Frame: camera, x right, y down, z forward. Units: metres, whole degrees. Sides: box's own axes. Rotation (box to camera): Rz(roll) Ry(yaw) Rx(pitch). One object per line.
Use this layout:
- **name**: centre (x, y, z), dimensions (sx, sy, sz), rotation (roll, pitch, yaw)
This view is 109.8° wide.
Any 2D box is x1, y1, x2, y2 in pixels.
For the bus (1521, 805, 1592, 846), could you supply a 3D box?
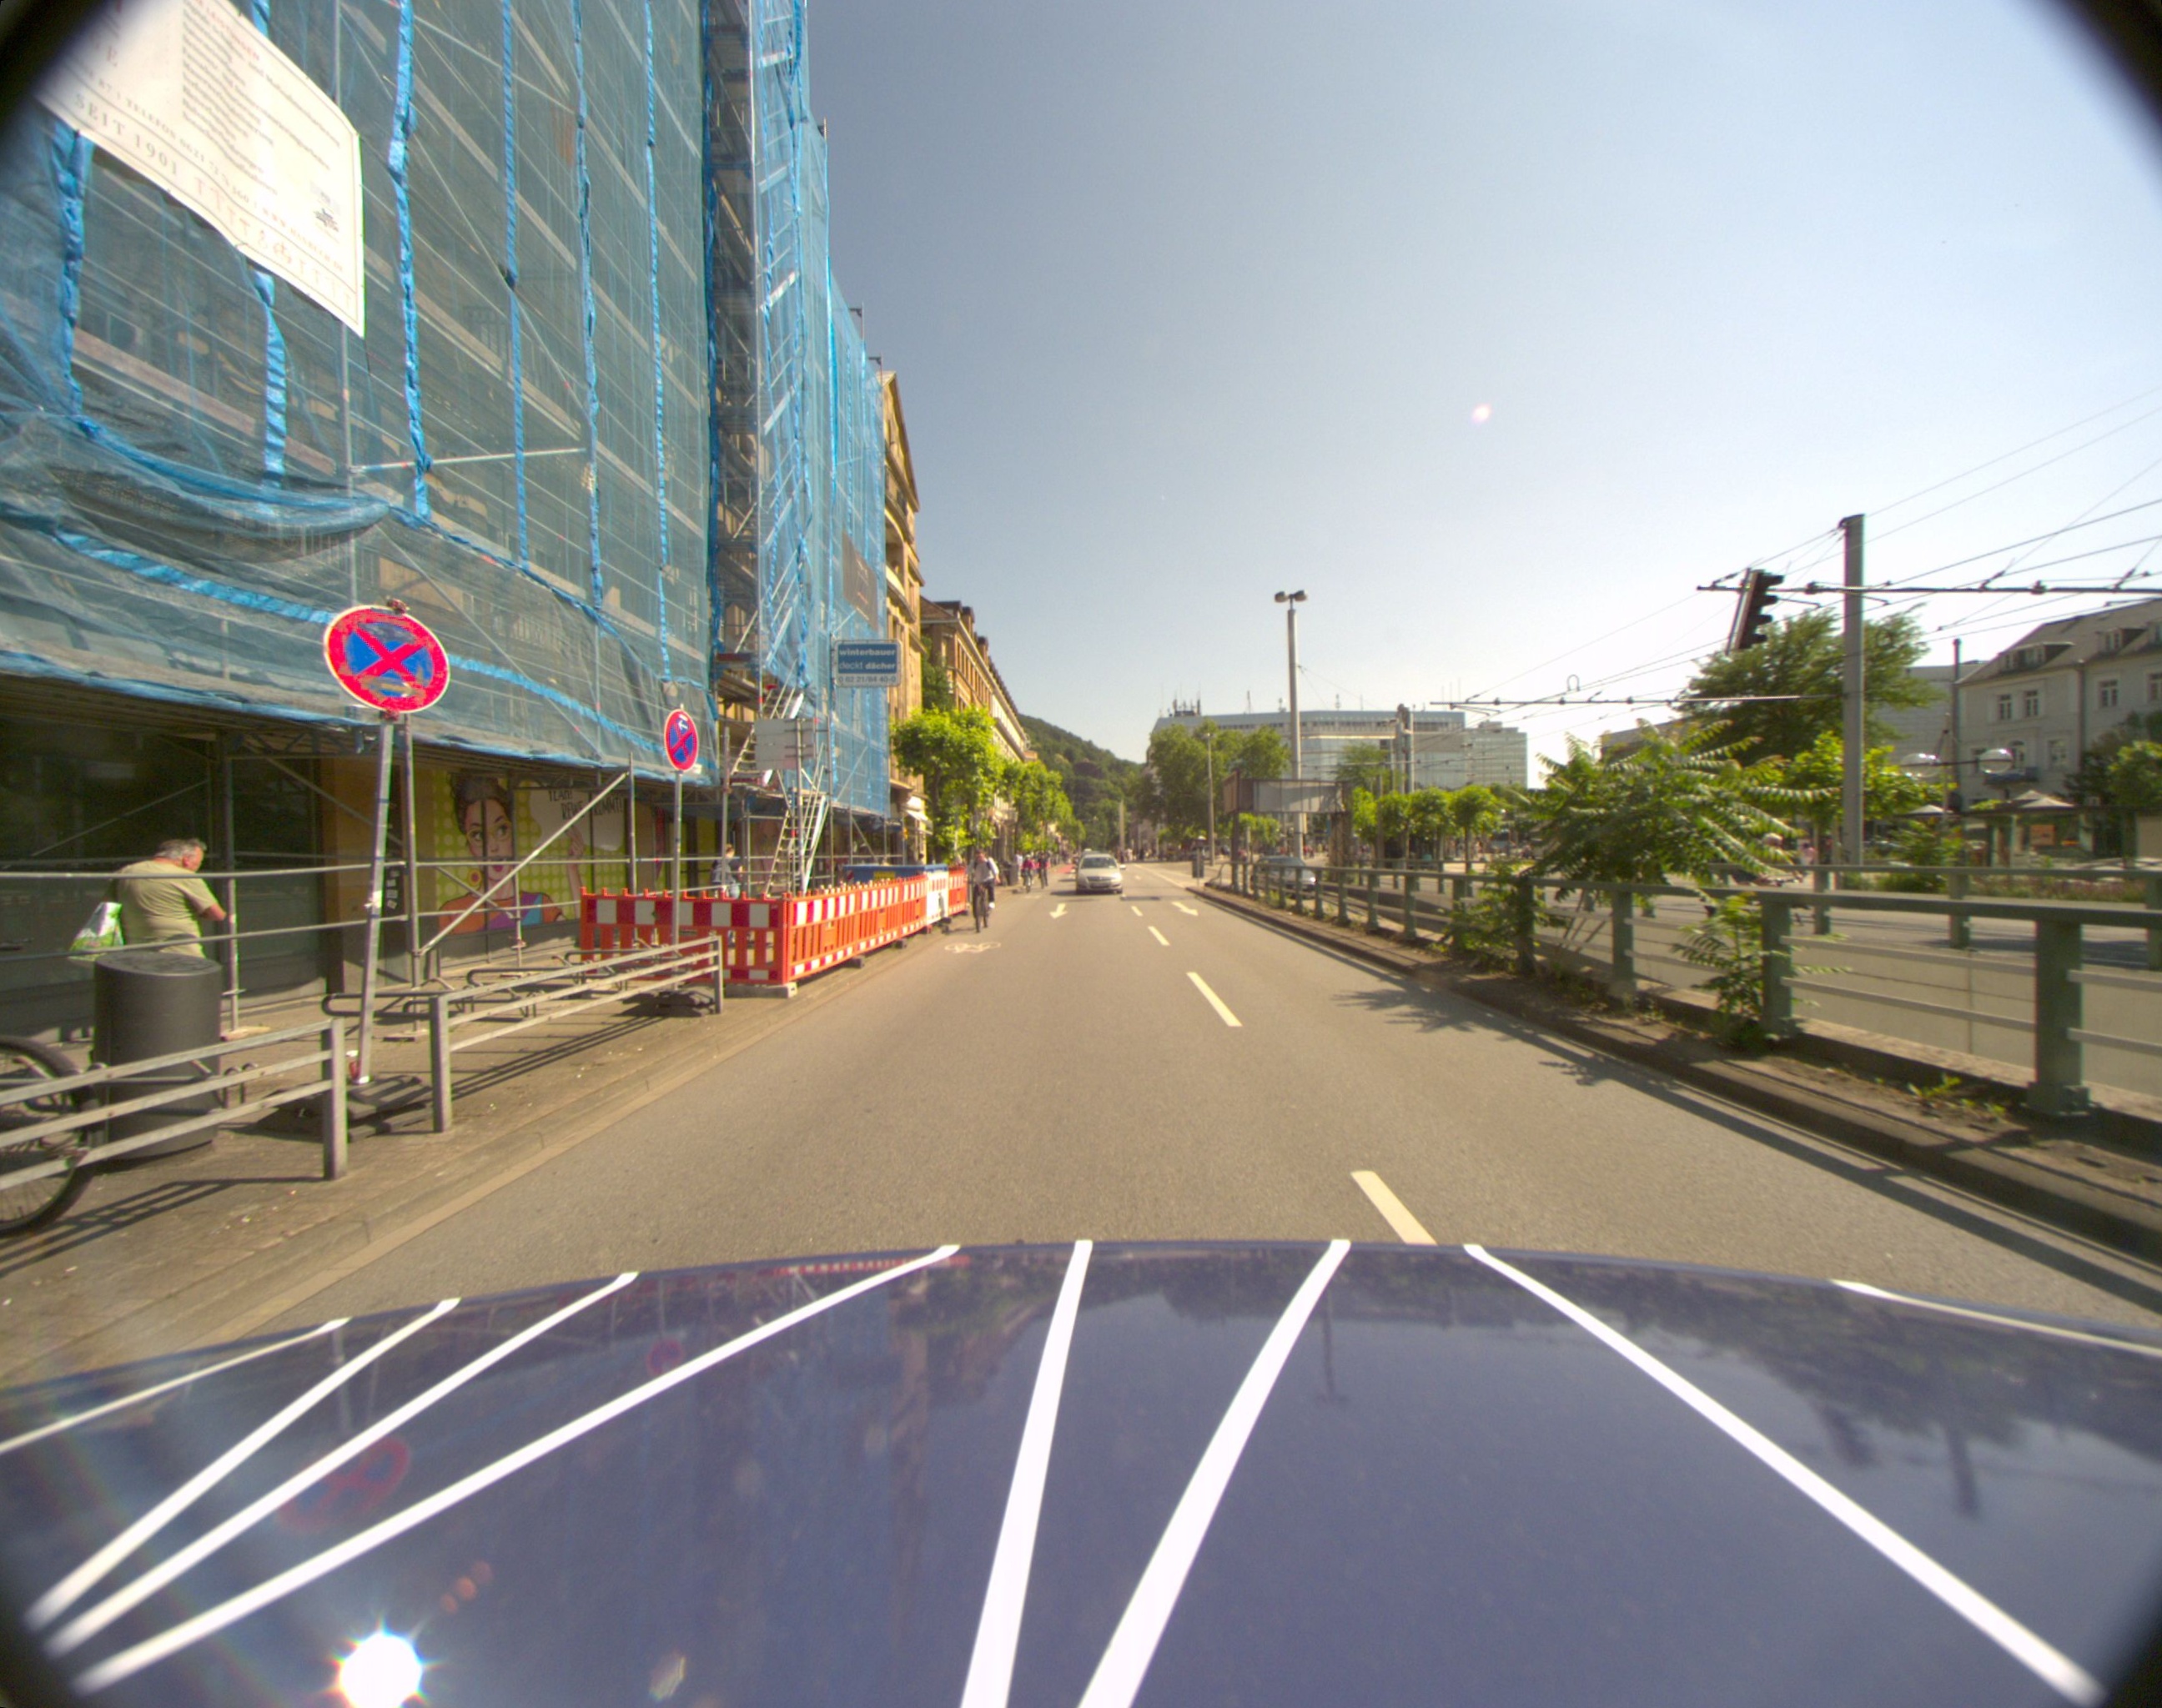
- **bus**: centre (45.085, -2.672, 72.524), dimensions (3.060, 3.400, 12.474), rotation (-3, 1, 20)

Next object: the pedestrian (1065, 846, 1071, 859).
- **pedestrian**: centre (-1.772, -0.199, 105.344), dimensions (0.579, 1.675, 0.726), rotation (-4, 2, -22)

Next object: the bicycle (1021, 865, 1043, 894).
- **bicycle**: centre (-1.995, 1.010, 30.885), dimensions (0.736, 1.086, 1.819), rotation (-3, 0, 0)

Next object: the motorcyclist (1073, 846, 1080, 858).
- **motorcyclist**: centre (-0.494, -0.236, 91.114), dimensions (0.736, 1.446, 0.707), rotation (-3, 1, 1)

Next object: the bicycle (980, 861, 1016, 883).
- **bicycle**: centre (-4.144, 0.885, 38.037), dimensions (1.757, 1.012, 0.483), rotation (-2, 1, -1)

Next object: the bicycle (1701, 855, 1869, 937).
- **bicycle**: centre (10.668, 0.592, 11.631), dimensions (0.819, 1.114, 1.874), rotation (1, 1, 1)

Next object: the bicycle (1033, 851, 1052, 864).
- **bicycle**: centre (-3.625, 0.323, 72.148), dimensions (1.757, 1.141, 0.483), rotation (-2, 1, -1)

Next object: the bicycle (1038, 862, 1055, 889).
- **bicycle**: centre (-1.564, 0.950, 34.240), dimensions (0.667, 1.086, 1.897), rotation (-3, 1, -2)

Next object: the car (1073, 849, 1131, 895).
- **car**: centre (0.802, 0.612, 28.140), dimensions (1.918, 1.401, 4.000), rotation (-3, 1, 2)

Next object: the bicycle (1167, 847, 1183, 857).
- **bicycle**: centre (10.835, -0.238, 87.419), dimensions (1.757, 1.141, 0.483), rotation (-2, 1, -1)

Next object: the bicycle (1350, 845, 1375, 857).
- **bicycle**: centre (23.558, -0.244, 63.558), dimensions (1.871, 0.851, 0.546), rotation (-4, 1, -12)

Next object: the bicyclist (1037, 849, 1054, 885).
- **bicyclist**: centre (-1.590, 0.596, 34.300), dimensions (0.690, 1.568, 0.778), rotation (-3, 1, -2)

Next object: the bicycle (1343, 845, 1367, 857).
- **bicycle**: centre (23.390, -0.277, 64.798), dimensions (1.871, 0.867, 0.582), rotation (-4, 1, -12)

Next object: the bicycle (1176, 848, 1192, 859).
- **bicycle**: centre (11.944, -0.069, 87.914), dimensions (1.757, 1.141, 0.483), rotation (-2, 1, -1)

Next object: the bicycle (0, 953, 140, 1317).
- **bicycle**: centre (-4.501, 1.005, 2.625), dimensions (1.697, 1.172, 0.608), rotation (-2, 1, 2)

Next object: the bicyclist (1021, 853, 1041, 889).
- **bicyclist**: centre (-2.022, 0.685, 30.942), dimensions (0.690, 1.388, 0.778), rotation (-3, 1, -1)

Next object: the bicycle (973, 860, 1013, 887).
- **bicycle**: centre (-4.076, 0.895, 35.335), dimensions (1.757, 1.174, 0.579), rotation (-2, 1, -1)

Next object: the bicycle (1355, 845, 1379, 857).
- **bicycle**: centre (23.660, -0.274, 62.860), dimensions (1.871, 0.851, 0.546), rotation (-4, 1, -12)

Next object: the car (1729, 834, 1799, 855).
- **car**: centre (54.132, -0.744, 60.333), dimensions (1.760, 1.499, 3.997), rotation (-3, 1, -5)

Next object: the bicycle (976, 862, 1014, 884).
- **bicycle**: centre (-4.137, 0.938, 36.731), dimensions (1.757, 1.012, 0.587), rotation (-1, 1, -1)

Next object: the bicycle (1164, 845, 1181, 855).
- **bicycle**: centre (10.725, -0.476, 88.902), dimensions (1.865, 1.141, 0.483), rotation (-2, 1, -1)

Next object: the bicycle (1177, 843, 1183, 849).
- **bicycle**: centre (17.627, -1.403, 135.157), dimensions (0.592, 1.140, 1.757), rotation (-2, 1, -7)

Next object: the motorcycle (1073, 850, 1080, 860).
- **motorcycle**: centre (-0.485, 0.121, 91.028), dimensions (0.736, 1.086, 1.897), rotation (-3, 1, 1)

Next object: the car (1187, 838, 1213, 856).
- **car**: centre (14.582, -0.845, 92.902), dimensions (1.995, 2.002, 5.073), rotation (-3, 1, 22)

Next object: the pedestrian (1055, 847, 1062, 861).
- **pedestrian**: centre (-2.897, 0.016, 97.726), dimensions (0.579, 1.675, 0.620), rotation (-5, 2, -42)

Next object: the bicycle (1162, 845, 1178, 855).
- **bicycle**: centre (10.524, -0.472, 89.953), dimensions (1.757, 1.141, 0.483), rotation (-2, 1, -1)

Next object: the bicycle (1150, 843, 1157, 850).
- **bicycle**: centre (12.717, -1.360, 133.420), dimensions (0.729, 1.137, 1.914), rotation (-3, 1, 15)

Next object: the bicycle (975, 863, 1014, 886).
- **bicycle**: centre (-4.104, 0.962, 36.052), dimensions (1.757, 1.012, 0.557), rotation (-2, 1, -1)

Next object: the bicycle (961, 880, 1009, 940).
- **bicycle**: centre (-2.007, 1.151, 16.104), dimensions (0.736, 1.086, 1.897), rotation (-2, 1, 0)

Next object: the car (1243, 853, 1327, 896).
- **car**: centre (7.382, 0.696, 27.862), dimensions (1.700, 1.397, 3.998), rotation (2, 1, -4)

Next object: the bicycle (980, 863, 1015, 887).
- **bicycle**: centre (-3.764, 0.917, 34.130), dimensions (0.659, 1.012, 1.753), rotation (-3, 2, -39)

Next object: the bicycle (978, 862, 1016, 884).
- **bicycle**: centre (-4.135, 0.919, 37.384), dimensions (1.757, 1.012, 0.483), rotation (-2, 1, -1)

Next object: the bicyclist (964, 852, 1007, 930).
- **bicyclist**: centre (-2.013, 0.765, 16.113), dimensions (0.750, 1.568, 0.778), rotation (-2, 1, 0)

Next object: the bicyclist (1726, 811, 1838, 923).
- **bicyclist**: centre (10.690, 0.188, 11.629), dimensions (0.819, 1.612, 0.902), rotation (2, 1, 1)

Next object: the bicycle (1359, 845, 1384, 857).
- **bicycle**: centre (23.832, -0.265, 62.240), dimensions (1.871, 0.865, 0.581), rotation (-4, 1, -12)

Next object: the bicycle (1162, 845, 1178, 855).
- **bicycle**: centre (10.670, -0.523, 91.170), dimensions (1.757, 1.141, 0.483), rotation (-2, 1, -1)

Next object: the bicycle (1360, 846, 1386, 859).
- **bicycle**: centre (23.187, -0.125, 60.420), dimensions (1.871, 0.865, 0.581), rotation (-4, 1, -12)

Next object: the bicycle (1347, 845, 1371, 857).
- **bicycle**: centre (23.502, -0.246, 64.149), dimensions (1.871, 0.851, 0.546), rotation (-4, 1, -12)
